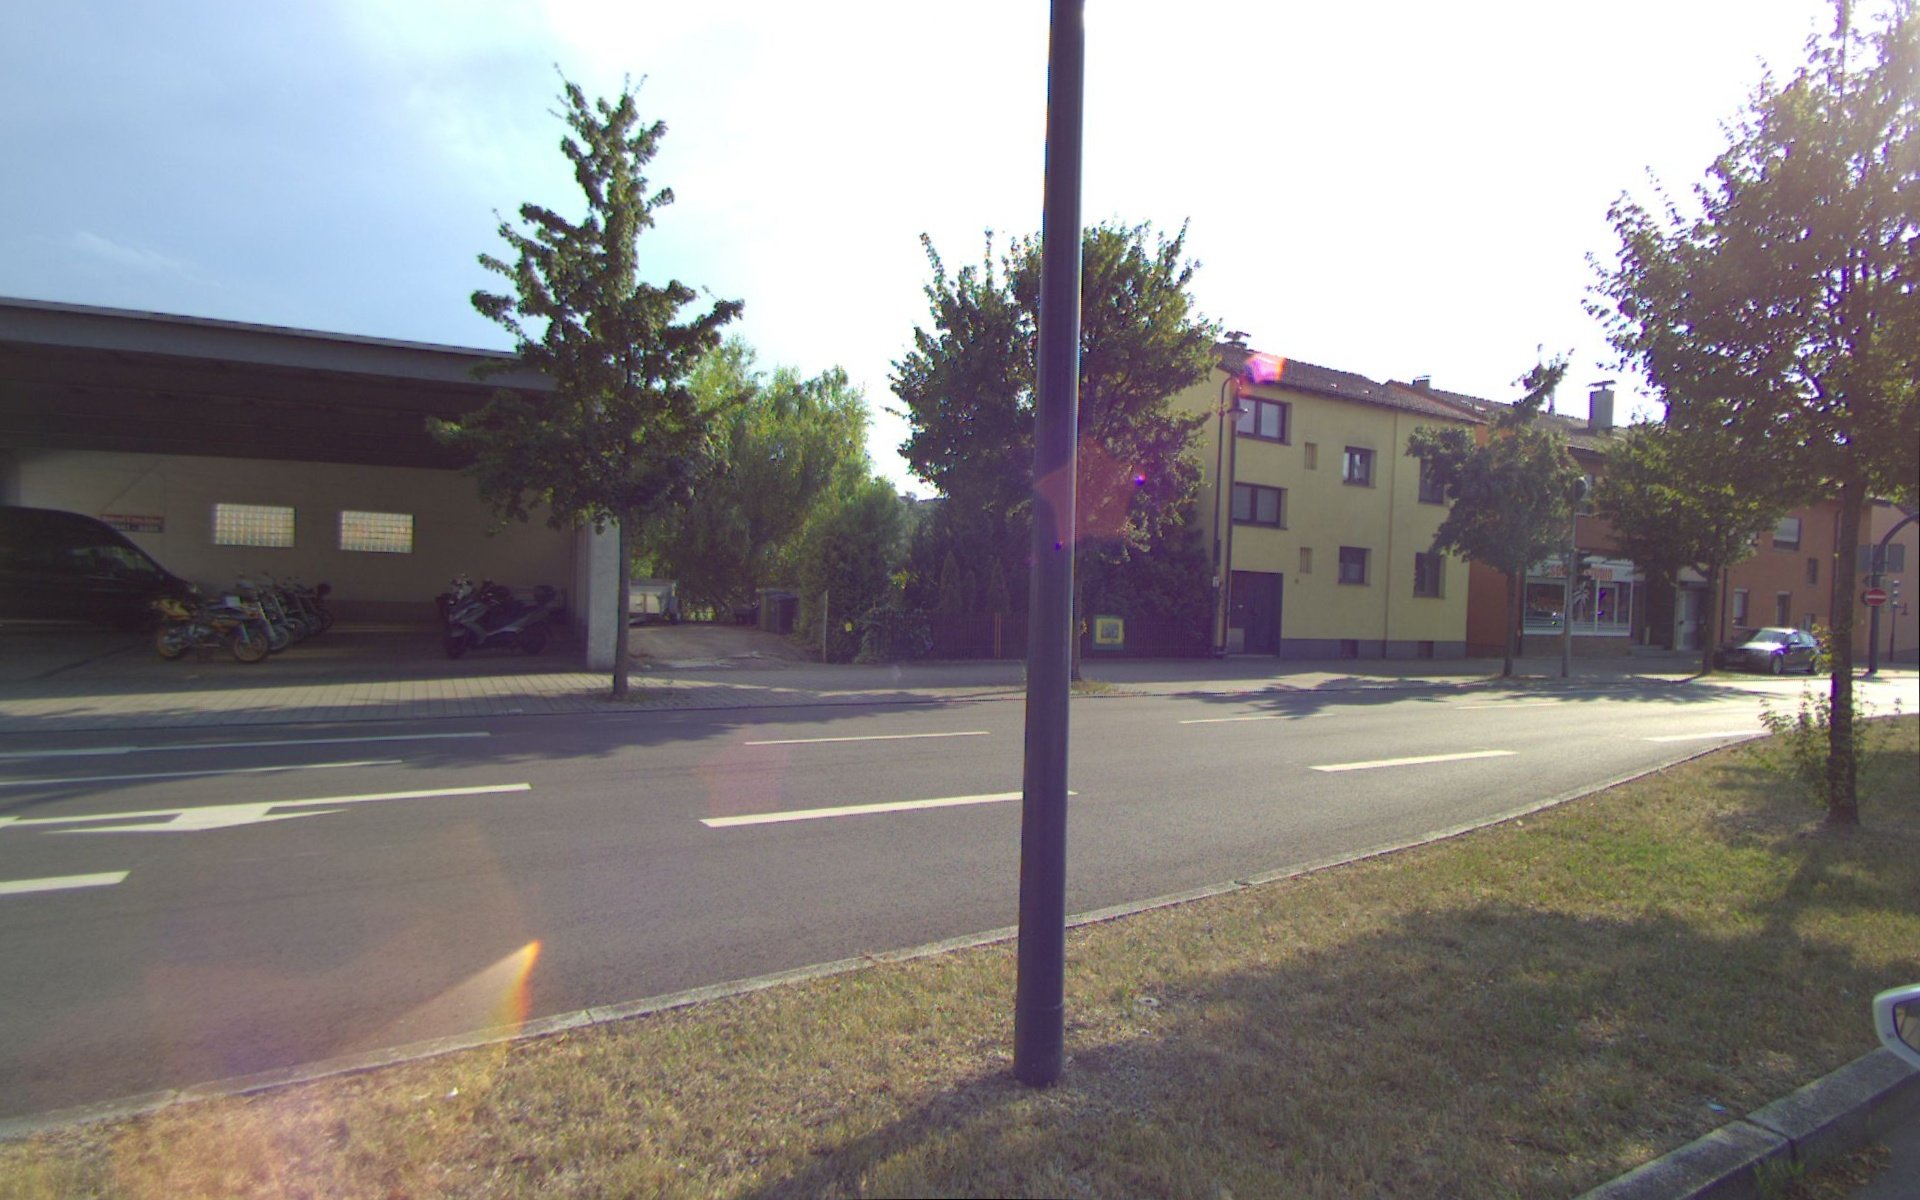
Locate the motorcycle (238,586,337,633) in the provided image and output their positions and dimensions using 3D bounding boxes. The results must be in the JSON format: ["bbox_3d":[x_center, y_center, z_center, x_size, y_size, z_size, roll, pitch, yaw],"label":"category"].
[{"bbox_3d":[-17.069,0.232,25.524,2.111,1.138,0.563,1,0,0],"label":"motorcycle"}]

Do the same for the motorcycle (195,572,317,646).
[{"bbox_3d":[-14.711,0.186,21.005,2.111,1.468,0.594,1,0,0],"label":"motorcycle"}]

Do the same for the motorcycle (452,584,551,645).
[{"bbox_3d":[-10.479,0.334,23.044,0.612,1.325,2.086,1,0,30],"label":"motorcycle"}]

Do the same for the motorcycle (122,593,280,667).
[{"bbox_3d":[-12.510,0.487,16.595,2.111,1.139,0.631,1,0,0],"label":"motorcycle"}]

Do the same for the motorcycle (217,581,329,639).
[{"bbox_3d":[-15.833,0.220,23.175,2.111,1.275,0.647,1,0,0],"label":"motorcycle"}]

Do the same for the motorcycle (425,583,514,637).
[{"bbox_3d":[-12.569,0.268,25.799,0.553,1.325,2.086,1,0,30],"label":"motorcycle"}]

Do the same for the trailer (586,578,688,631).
[{"bbox_3d":[-8.116,0.064,25.522,1.692,1.199,3.594,1,1,-5],"label":"trailer"}]

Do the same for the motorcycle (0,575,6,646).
[{"bbox_3d":[-18.637,0.182,18.095,0.637,1.329,2.007,1,0,23],"label":"motorcycle"}]

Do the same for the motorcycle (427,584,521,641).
[{"bbox_3d":[-11.802,0.308,24.456,0.573,1.325,2.086,1,0,30],"label":"motorcycle"}]

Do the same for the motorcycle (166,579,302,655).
[{"bbox_3d":[-13.547,0.320,18.773,2.111,1.347,0.563,1,0,0],"label":"motorcycle"}]

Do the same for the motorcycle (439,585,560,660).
[{"bbox_3d":[-8.629,0.416,18.917,0.553,1.325,2.112,1,0,30],"label":"motorcycle"}]

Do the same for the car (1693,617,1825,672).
[{"bbox_3d":[25.932,1.436,32.582,3.949,1.573,1.836,1,2,-27],"label":"car"}]

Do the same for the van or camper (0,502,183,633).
[{"bbox_3d":[-20.455,-0.687,22.032,1.963,2.716,5.032,1,0,27],"label":"van or camper"}]

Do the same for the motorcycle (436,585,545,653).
[{"bbox_3d":[-9.668,0.391,20.777,0.553,1.325,2.086,1,0,30],"label":"motorcycle"}]

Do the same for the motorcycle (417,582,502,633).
[{"bbox_3d":[-13.511,0.202,27.166,0.553,1.325,2.086,1,0,30],"label":"motorcycle"}]

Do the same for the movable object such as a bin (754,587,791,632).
[{"bbox_3d":[-4.782,0.236,25.587,0.712,1.101,0.727,1,3,-30],"label":"movable object such as a bin"}]

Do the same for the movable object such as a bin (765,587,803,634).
[{"bbox_3d":[-4.342,0.265,24.815,0.688,1.101,0.727,1,3,-30],"label":"movable object such as a bin"}]

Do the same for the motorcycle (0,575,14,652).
[{"bbox_3d":[-17.242,0.216,16.767,0.637,1.329,2.007,1,0,23],"label":"motorcycle"}]
